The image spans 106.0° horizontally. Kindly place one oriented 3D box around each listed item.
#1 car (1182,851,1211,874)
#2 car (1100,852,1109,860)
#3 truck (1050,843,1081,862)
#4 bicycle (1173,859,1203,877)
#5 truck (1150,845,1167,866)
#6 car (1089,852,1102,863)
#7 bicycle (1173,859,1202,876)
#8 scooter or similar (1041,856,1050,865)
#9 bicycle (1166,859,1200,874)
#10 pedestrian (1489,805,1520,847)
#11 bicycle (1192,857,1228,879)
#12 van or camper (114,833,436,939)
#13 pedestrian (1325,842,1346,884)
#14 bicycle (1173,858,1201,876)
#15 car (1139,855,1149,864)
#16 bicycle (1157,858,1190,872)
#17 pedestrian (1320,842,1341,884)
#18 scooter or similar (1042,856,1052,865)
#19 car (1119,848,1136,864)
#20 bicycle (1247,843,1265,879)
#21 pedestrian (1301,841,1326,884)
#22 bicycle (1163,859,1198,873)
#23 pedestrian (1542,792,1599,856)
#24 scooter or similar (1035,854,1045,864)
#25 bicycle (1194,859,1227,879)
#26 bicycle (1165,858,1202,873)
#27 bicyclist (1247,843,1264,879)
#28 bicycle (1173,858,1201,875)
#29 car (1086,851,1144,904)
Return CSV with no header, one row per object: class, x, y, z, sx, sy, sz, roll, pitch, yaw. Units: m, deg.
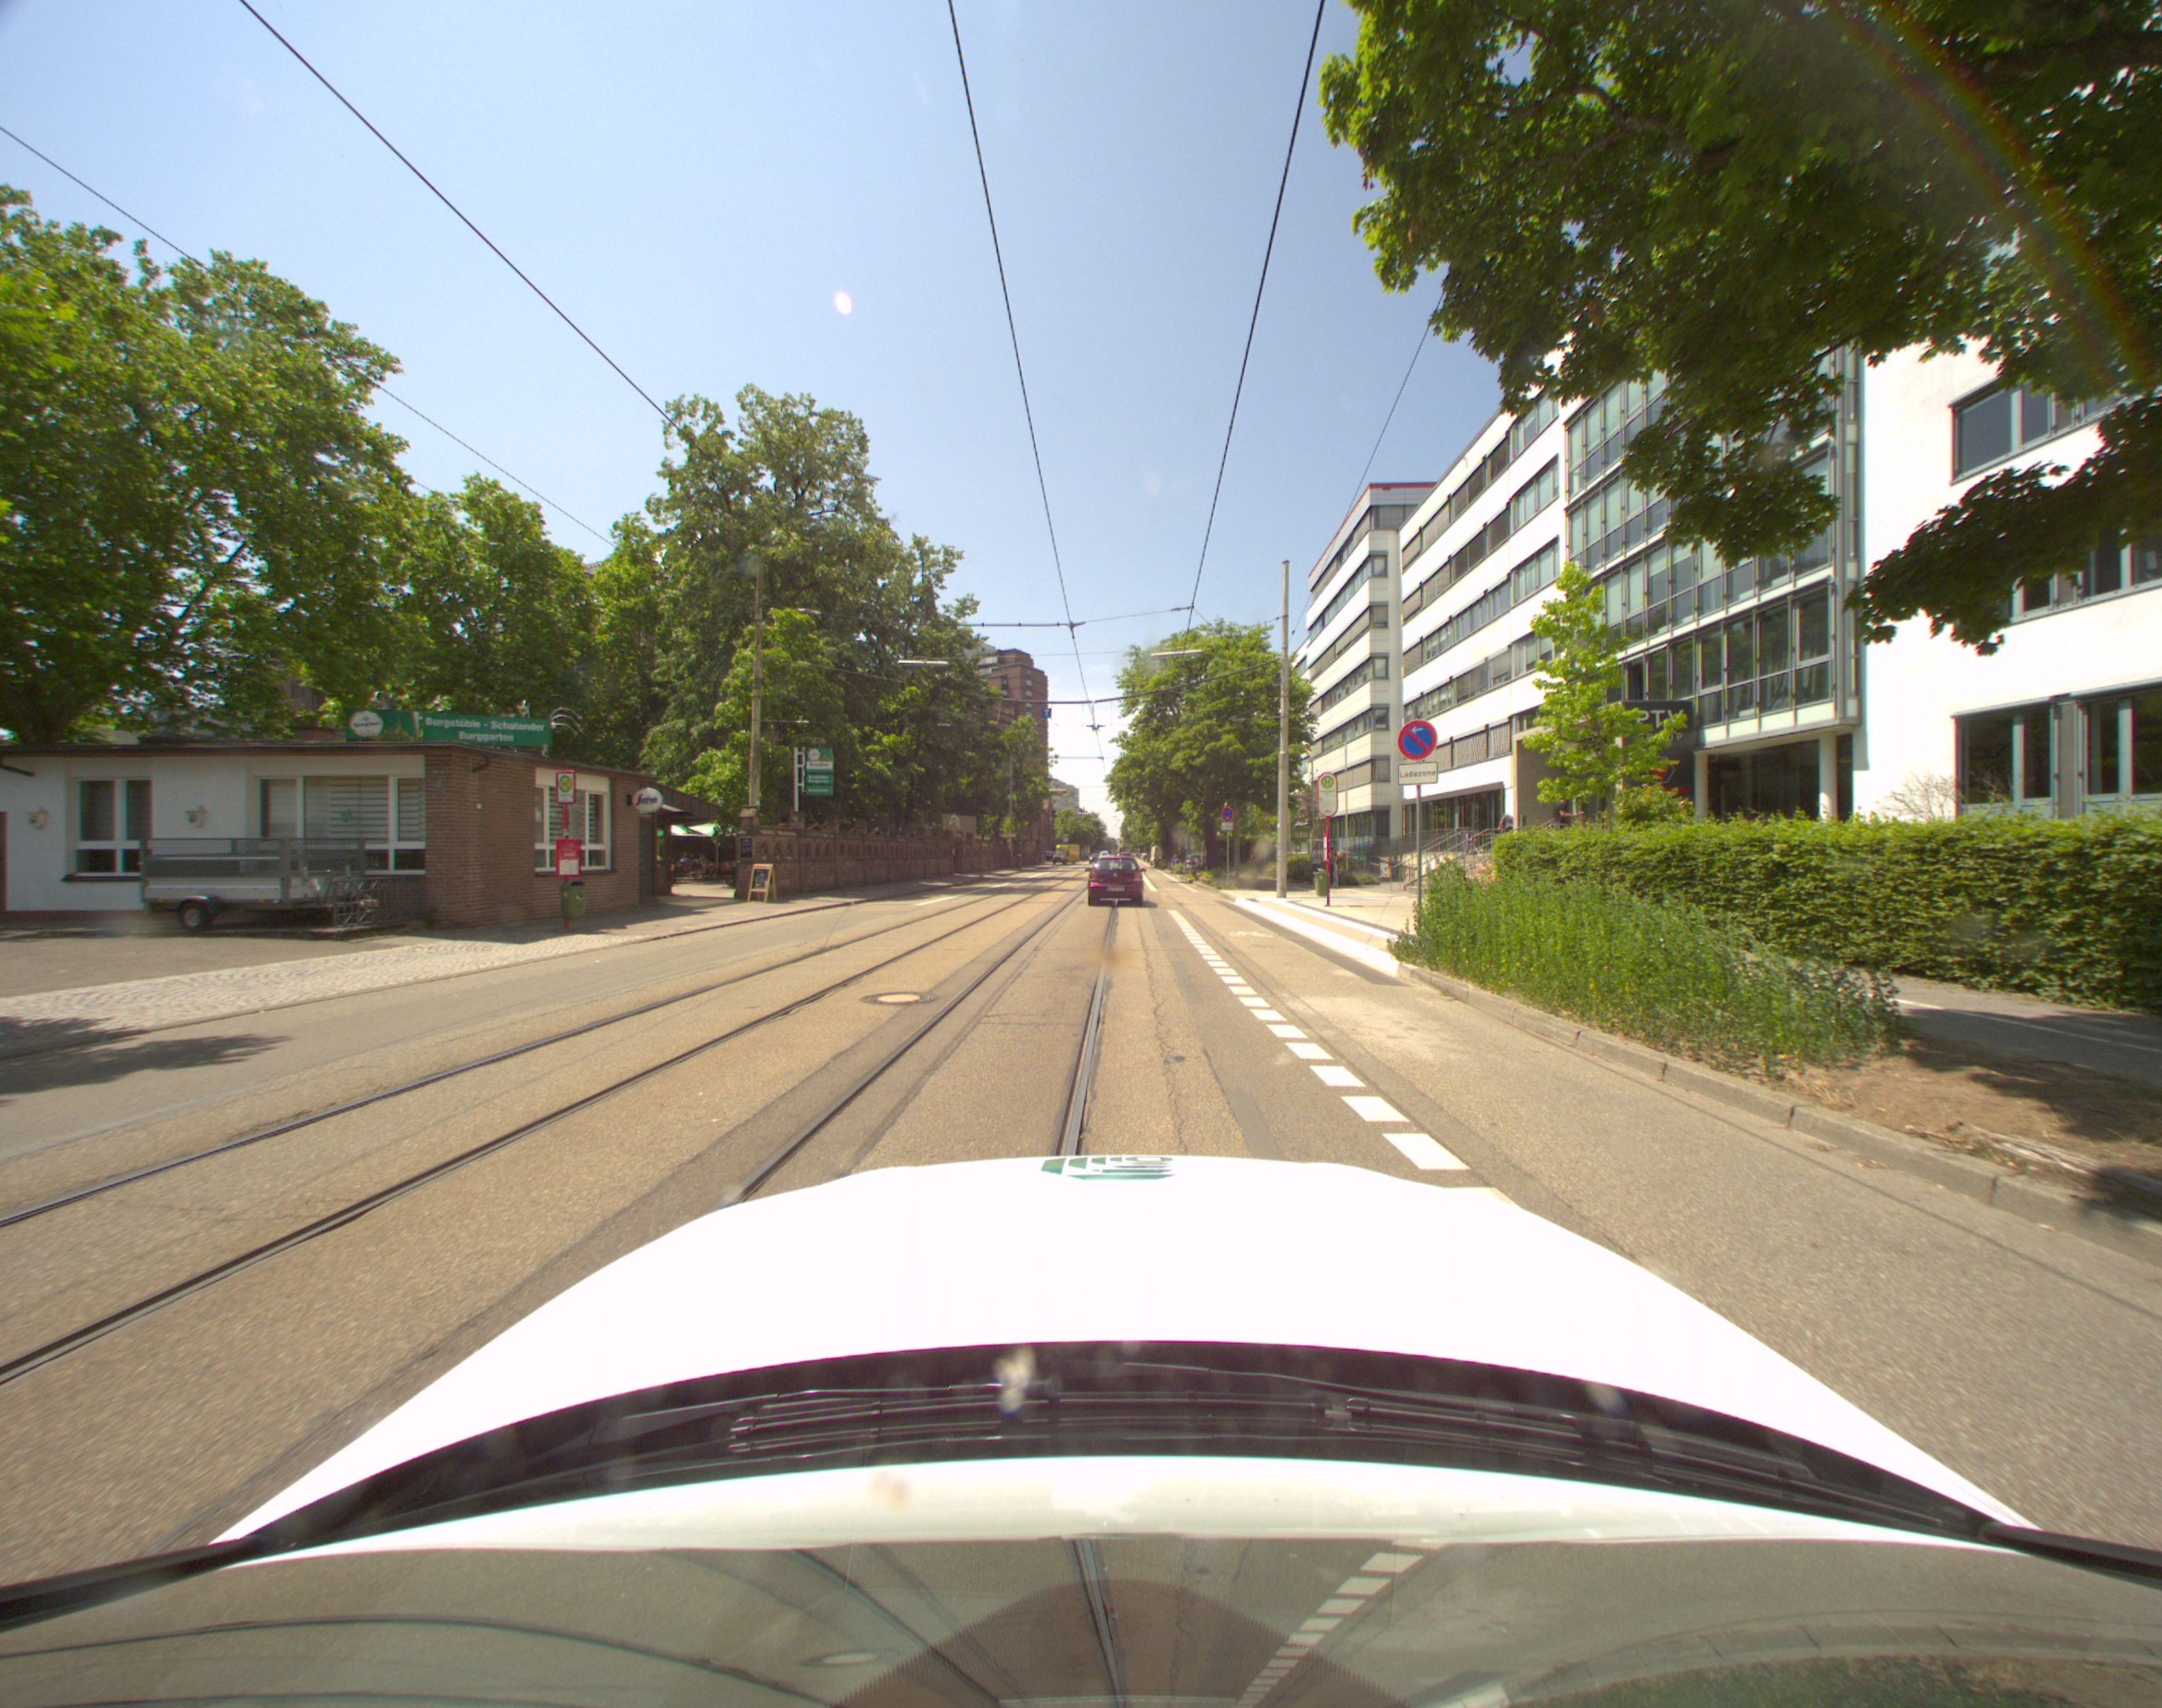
car,8.046,0.574,56.960,1.681,1.503,3.630,-2,0,3
car,5.442,0.475,188.195,1.985,1.854,4.685,0,0,3
truck,-2.253,-0.238,121.020,2.350,2.787,7.354,0,0,18
bicycle,6.524,0.837,49.717,1.744,1.085,0.549,0,0,2
truck,10.146,0.179,106.522,1.985,2.662,4.879,1,0,3
car,2.203,0.520,120.905,1.763,1.516,4.003,0,0,3
bicycle,6.650,0.843,50.833,1.744,1.085,0.549,0,0,2
scooter or similar,-4.612,0.797,105.031,1.091,1.155,0.524,1,0,-18
bicycle,9.492,1.142,75.873,3.059,1.313,0.782,1,0,1
pedestrian,17.666,-1.146,33.959,0.874,1.716,0.808,1,0,2
bicycle,7.081,0.784,44.798,1.876,1.182,0.695,-1,-1,2
van or camper,-13.795,0.503,14.107,3.768,1.629,1.873,1,1,3
pedestrian,10.671,0.386,34.196,0.540,1.715,0.561,-1,-1,-26
bicycle,6.683,0.822,51.462,1.744,1.085,0.549,0,0,2
car,11.876,0.967,154.021,1.667,1.656,4.003,1,0,3
bicycle,8.982,1.064,79.200,3.059,1.313,0.782,1,0,1
pedestrian,10.324,0.383,33.690,0.540,1.715,0.561,-1,-1,-26
scooter or similar,-4.356,0.812,104.361,1.091,1.155,0.524,1,0,-18
car,6.087,0.261,107.071,1.986,2.013,4.001,1,0,1
bicycle,8.860,0.373,41.295,0.686,1.785,1.813,-2,-1,6
pedestrian,9.893,0.346,34.625,0.681,1.796,0.668,-2,-1,-28
bicycle,9.127,1.083,74.663,3.059,1.154,0.782,1,0,1
pedestrian,13.779,-0.831,22.950,0.872,1.715,1.087,-2,-1,-6
scooter or similar,-5.110,0.638,101.132,1.091,1.155,0.524,1,0,-18
bicycle,7.284,0.842,45.888,1.816,1.085,0.720,-1,-1,6
bicycle,9.728,1.110,77.256,3.355,1.313,0.782,1,0,1
bicyclist,8.874,0.366,41.351,0.693,1.799,0.889,-2,-1,6
bicycle,6.751,0.803,52.093,1.744,1.085,0.549,0,0,2
car,1.035,0.665,24.837,1.612,1.486,4.002,0,0,2
